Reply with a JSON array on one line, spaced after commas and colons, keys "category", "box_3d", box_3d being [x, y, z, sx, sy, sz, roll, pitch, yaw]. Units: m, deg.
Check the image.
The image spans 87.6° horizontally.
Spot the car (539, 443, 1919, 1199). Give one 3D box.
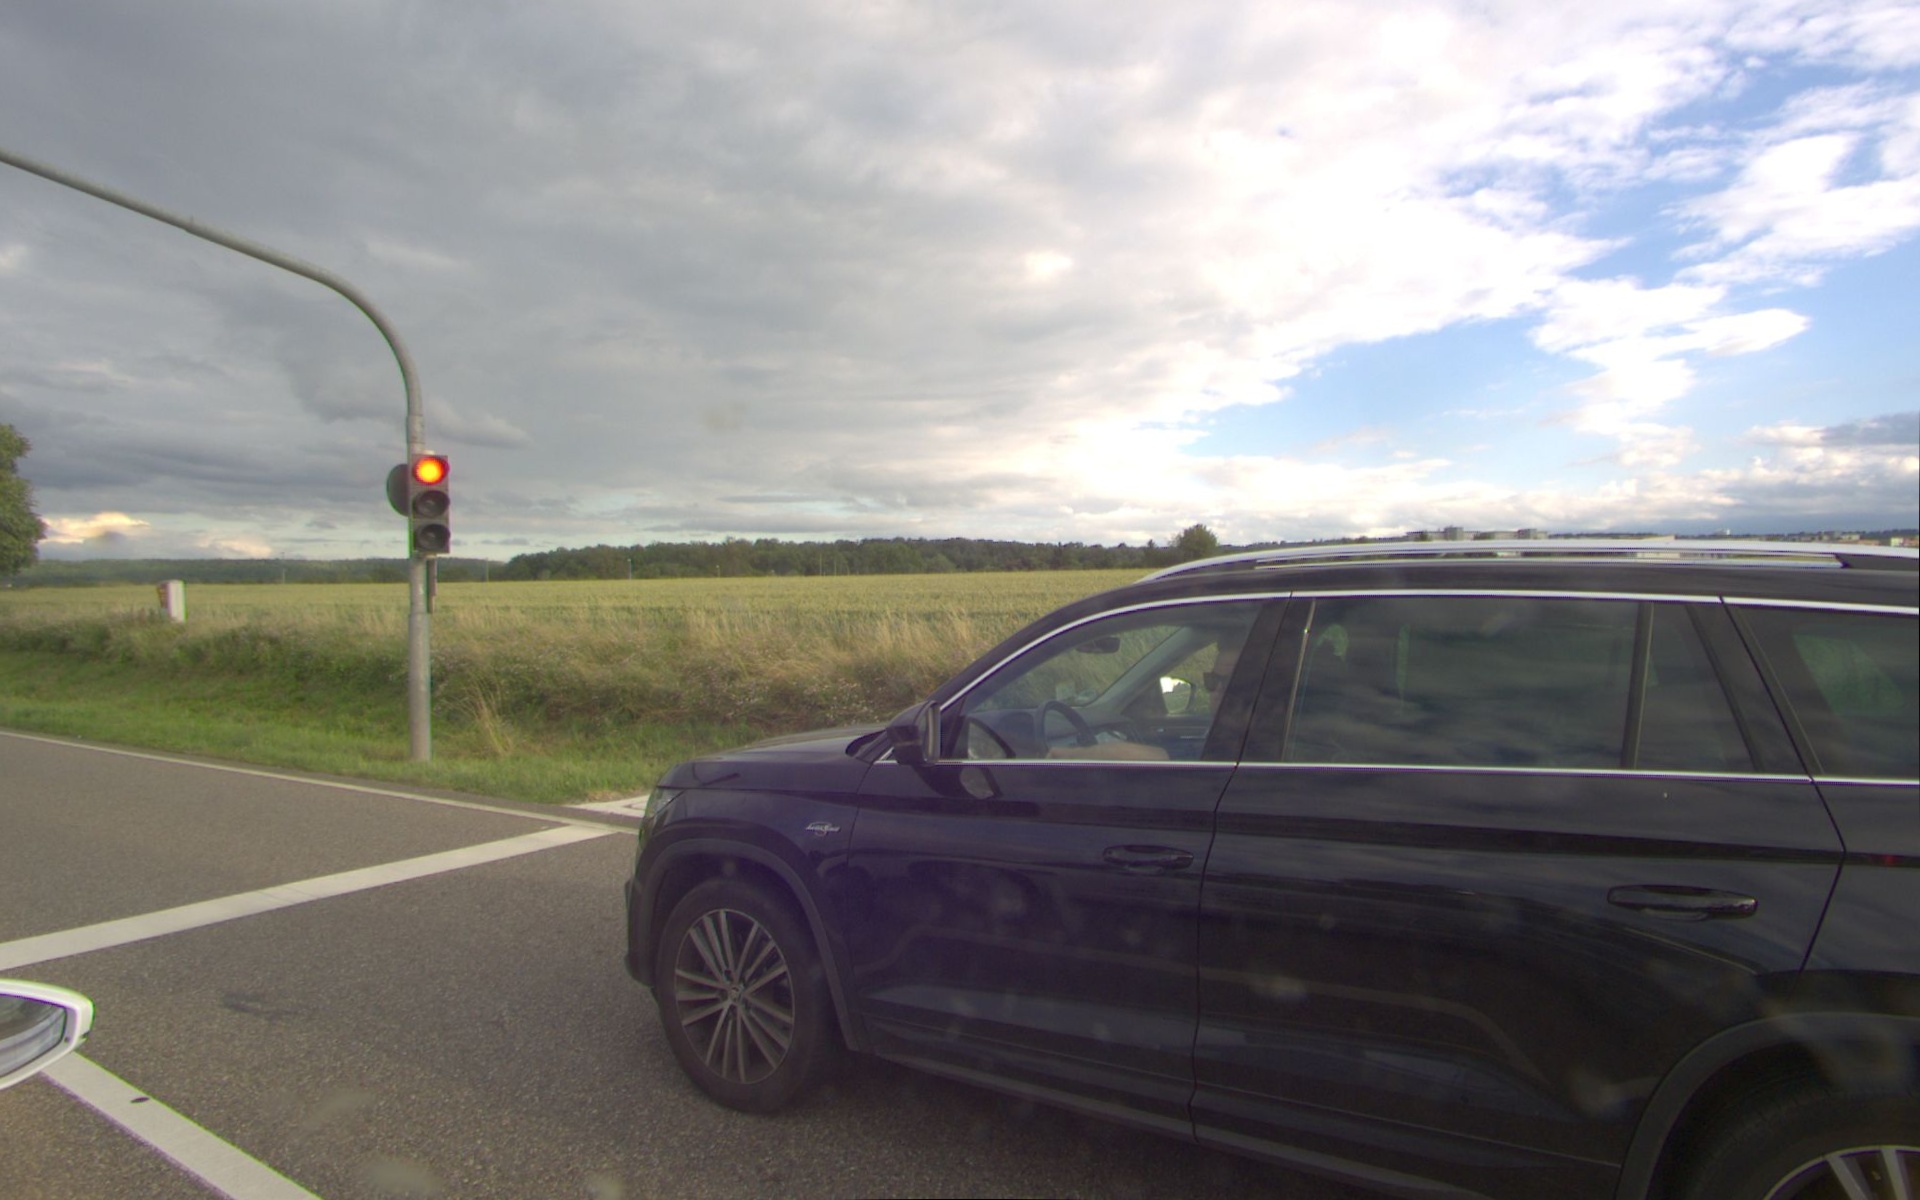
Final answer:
[{"category": "car", "box_3d": [0.907, 0.673, 3.074, 4.492, 1.730, 1.833, -1, -2, 32]}]
